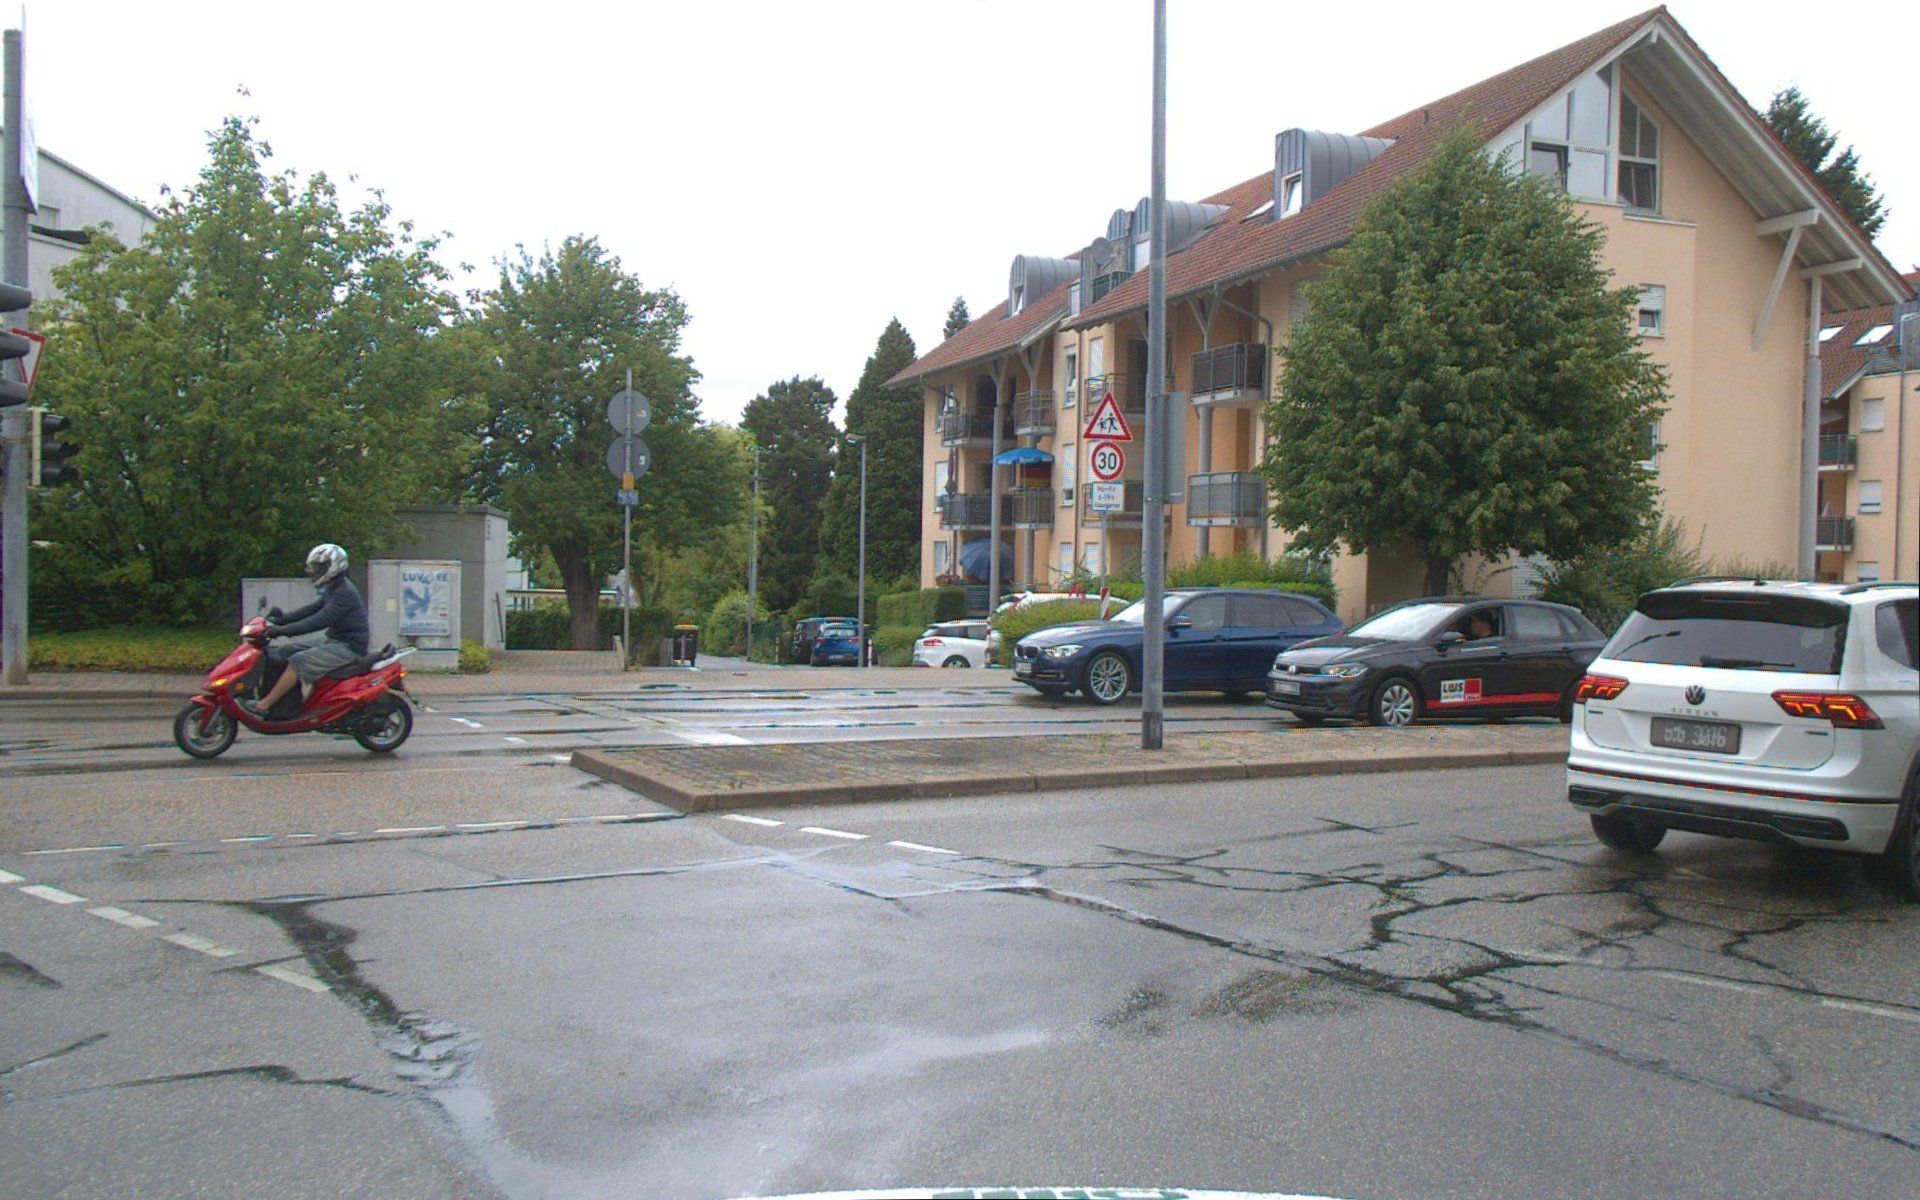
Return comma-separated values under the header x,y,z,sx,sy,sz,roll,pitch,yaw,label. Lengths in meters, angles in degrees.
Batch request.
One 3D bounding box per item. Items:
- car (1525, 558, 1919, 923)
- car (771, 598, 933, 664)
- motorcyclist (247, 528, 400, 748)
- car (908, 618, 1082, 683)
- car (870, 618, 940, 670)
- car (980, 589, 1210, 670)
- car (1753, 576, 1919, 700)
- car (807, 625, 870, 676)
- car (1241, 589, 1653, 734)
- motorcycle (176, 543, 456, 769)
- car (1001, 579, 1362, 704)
x,y,z,sx,sy,sz,roll,pitch,yaw,label
5.477,0.667,10.246,4.228,1.752,1.898,0,2,-42,car
-4.348,1.222,66.375,5.910,2.239,2.838,3,1,-19,car
-4.999,0.293,12.984,0.928,1.653,0.764,2,0,-34,motorcyclist
0.805,1.167,38.996,3.785,1.433,1.760,0,1,-15,car
-1.737,1.335,51.175,1.728,1.432,3.854,0,1,-9,car
2.595,0.569,32.142,4.117,1.464,1.816,1,-1,-14,car
14.806,0.565,25.450,4.509,1.755,1.947,1,1,-15,car
-3.978,1.599,53.561,1.728,1.432,3.854,0,1,-9,car
5.350,0.617,18.194,4.129,1.433,1.811,0,1,-21,car
-5.032,0.418,12.968,1.898,1.652,0.788,1,0,-34,motorcycle
2.837,0.510,21.197,4.276,1.460,1.749,1,1,-21,car
